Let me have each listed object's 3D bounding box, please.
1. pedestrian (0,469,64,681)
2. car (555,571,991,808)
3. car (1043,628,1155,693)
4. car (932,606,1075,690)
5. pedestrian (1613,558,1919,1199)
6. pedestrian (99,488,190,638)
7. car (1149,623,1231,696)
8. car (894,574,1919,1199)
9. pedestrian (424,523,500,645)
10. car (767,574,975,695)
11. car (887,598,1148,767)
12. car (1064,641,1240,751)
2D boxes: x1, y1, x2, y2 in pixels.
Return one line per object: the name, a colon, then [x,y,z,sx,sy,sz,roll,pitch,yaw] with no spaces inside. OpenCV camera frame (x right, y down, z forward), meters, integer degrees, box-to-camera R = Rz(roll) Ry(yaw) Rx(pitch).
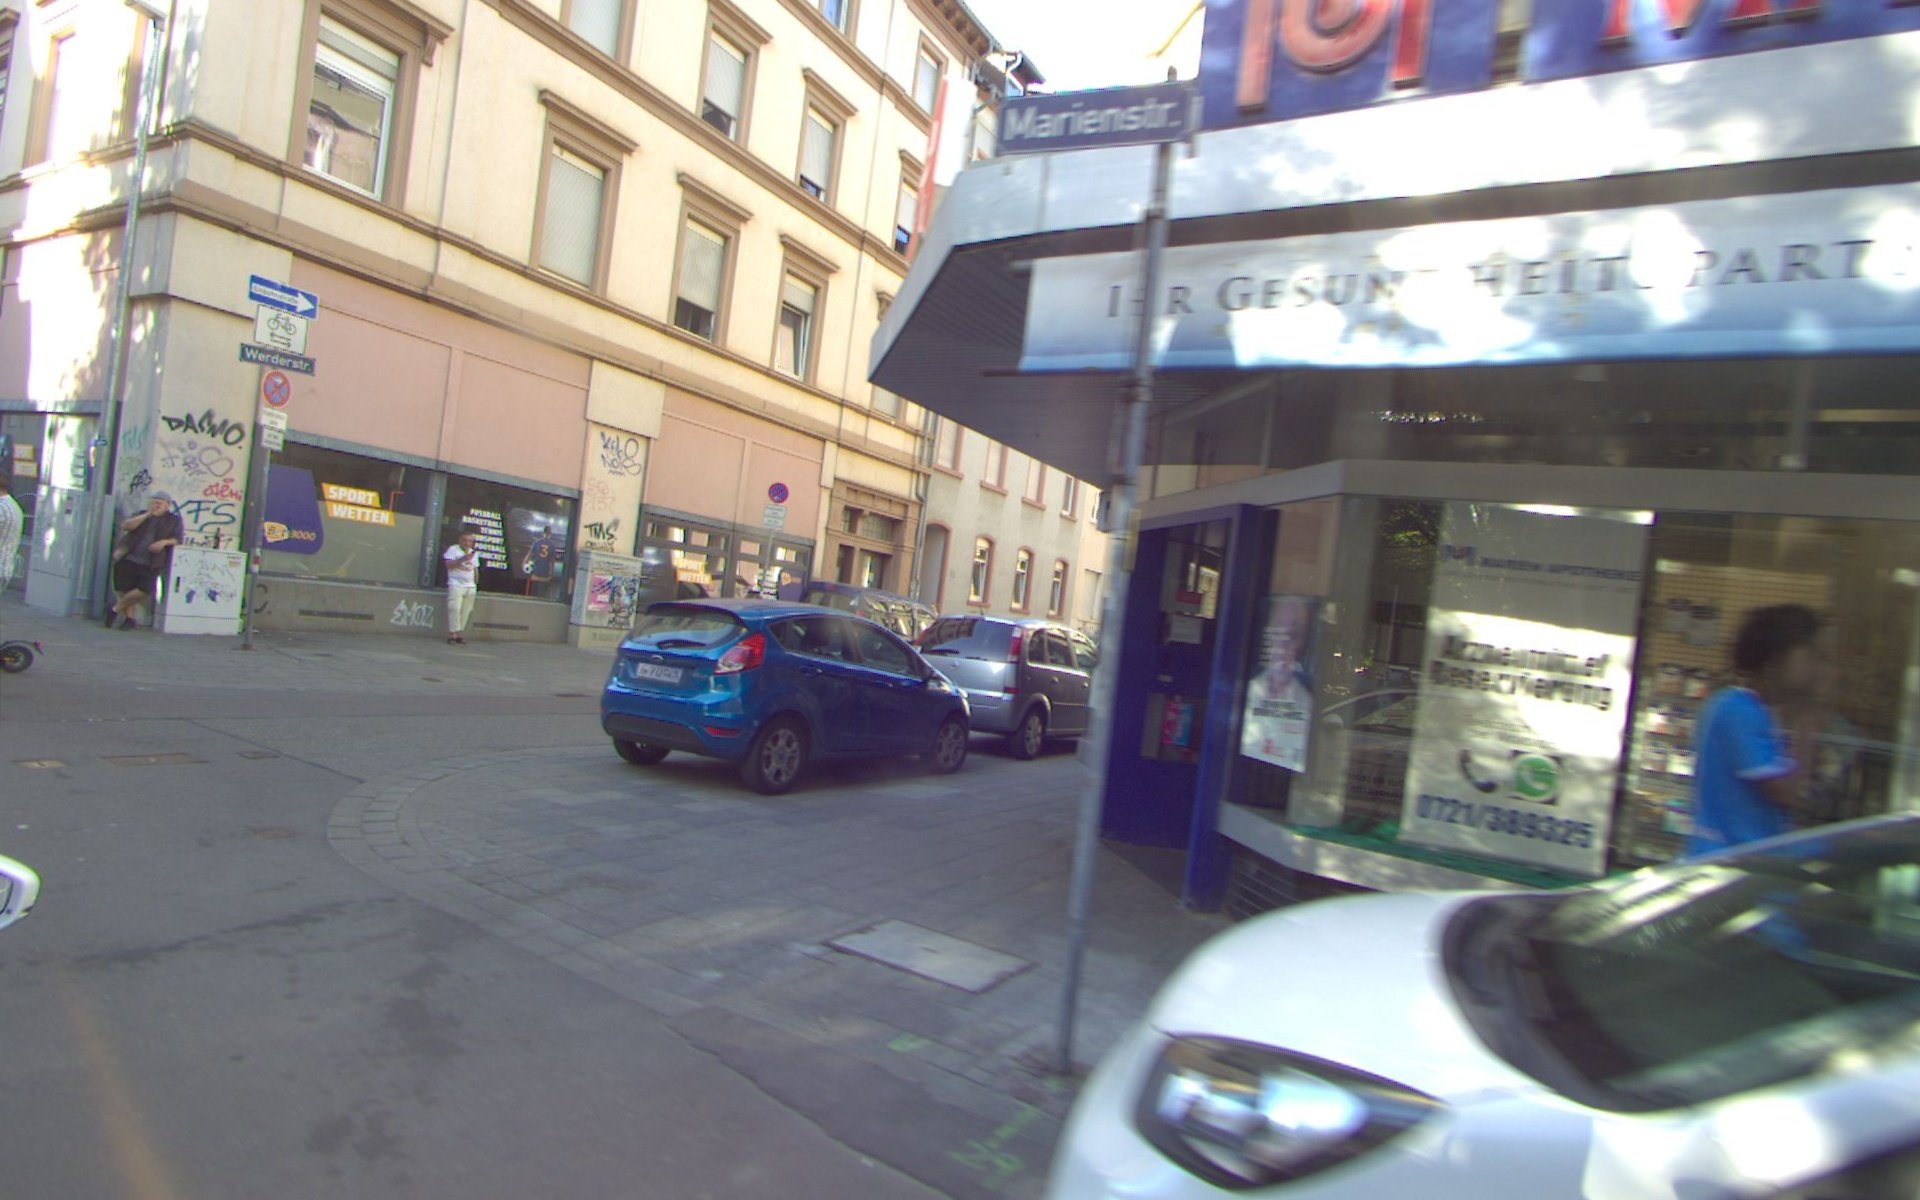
pedestrian: [-7.783,-0.213,8.066,0.520,1.657,0.564,7,-1,-14]
car: [-1.437,0.752,8.953,1.759,1.504,3.579,7,-1,31]
car: [4.046,1.777,28.694,1.560,1.541,4.046,6,-1,31]
car: [1.125,1.191,23.852,1.560,1.630,3.935,6,-1,31]
pedestrian: [2.466,0.877,3.126,0.521,1.916,0.563,7,-1,31]
pedestrian: [-9.595,-0.434,11.856,0.594,1.671,0.461,8,2,-28]
car: [8.627,2.252,37.549,1.806,2.409,3.420,6,-1,31]
car: [1.878,0.948,1.494,3.578,1.479,1.694,6,-2,29]
pedestrian: [-7.510,-0.230,15.184,0.467,1.746,0.692,7,-1,30]
car: [-1.599,0.747,19.509,1.837,1.863,3.931,10,1,31]
car: [0.885,1.040,12.781,1.603,1.649,3.741,7,-1,31]
car: [3.385,1.613,17.113,1.533,1.472,3.984,6,-1,31]
